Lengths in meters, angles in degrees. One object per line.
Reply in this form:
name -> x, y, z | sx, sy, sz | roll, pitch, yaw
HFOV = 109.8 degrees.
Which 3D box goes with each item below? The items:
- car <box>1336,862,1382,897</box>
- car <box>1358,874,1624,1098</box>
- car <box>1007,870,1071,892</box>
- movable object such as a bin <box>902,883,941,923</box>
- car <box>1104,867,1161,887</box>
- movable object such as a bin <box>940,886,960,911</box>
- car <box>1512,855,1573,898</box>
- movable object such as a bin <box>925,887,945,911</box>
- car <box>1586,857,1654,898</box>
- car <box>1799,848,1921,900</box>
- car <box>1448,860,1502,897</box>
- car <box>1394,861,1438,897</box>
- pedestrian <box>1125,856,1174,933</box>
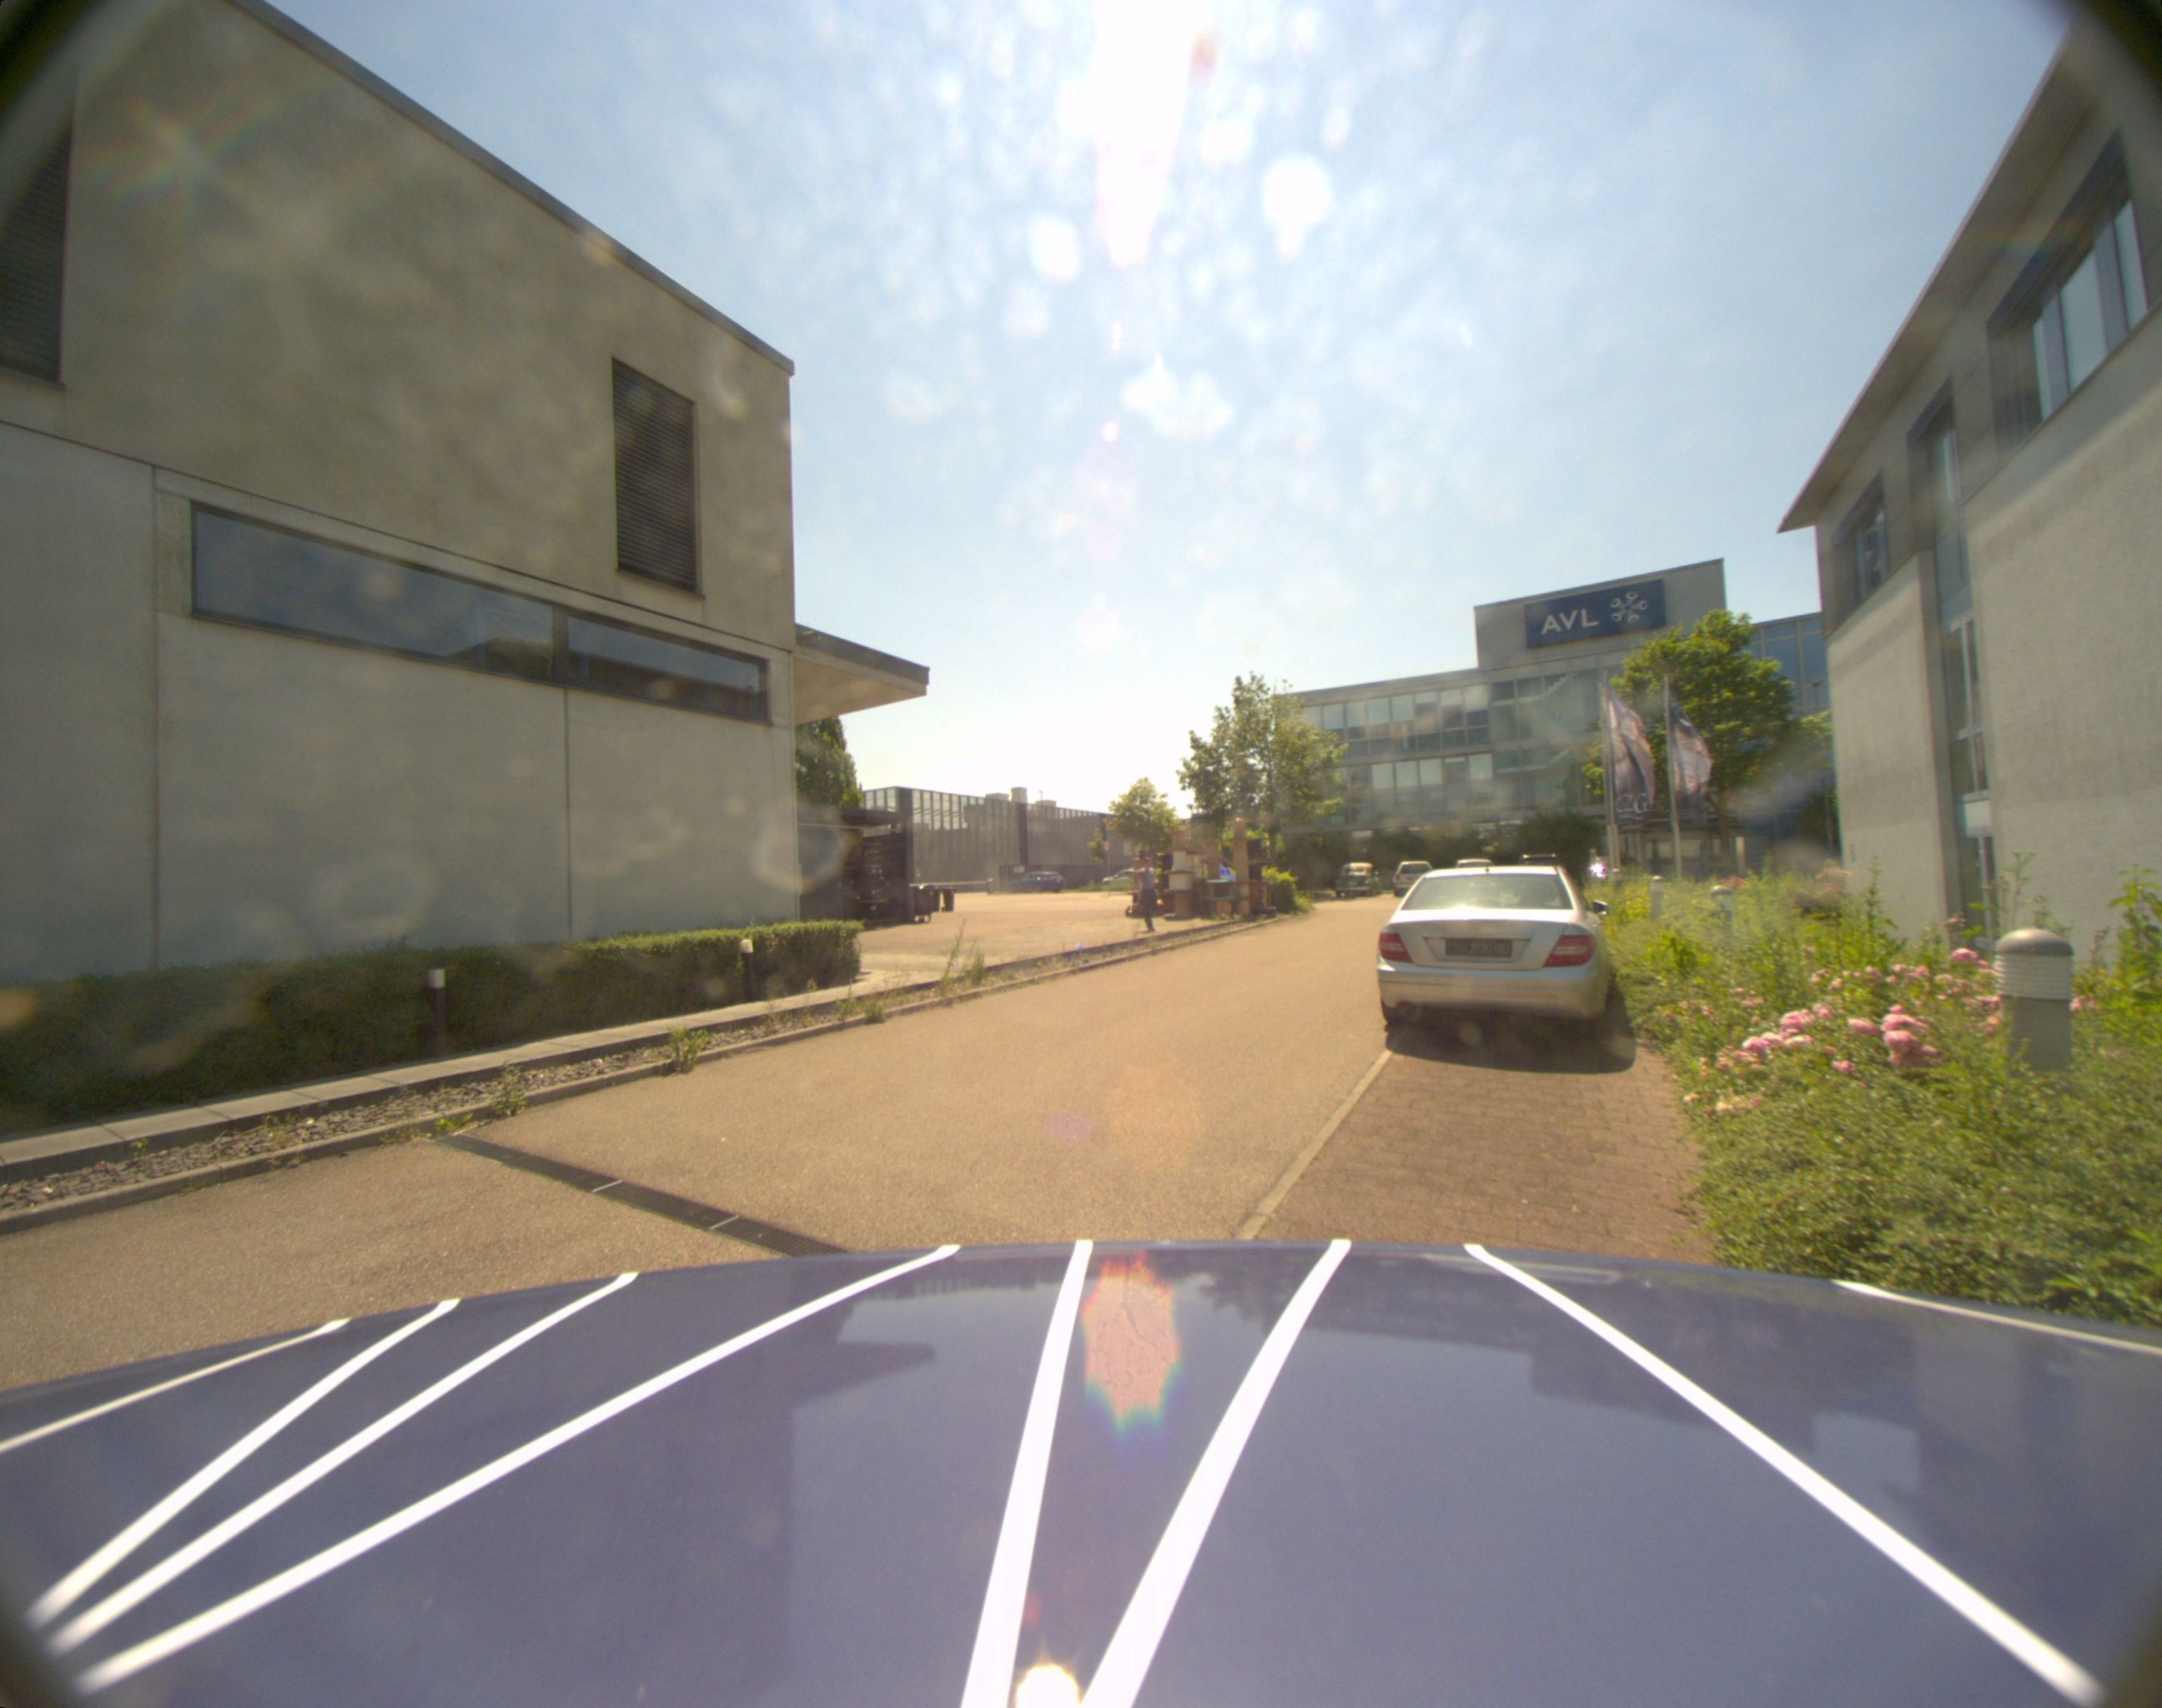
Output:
car -> 12.378, 1.083, 33.771 | 1.519, 1.437, 3.425 | -1, 0, 27
car -> 4.131, 0.972, 7.424 | 1.730, 1.448, 4.156 | -2, -1, 33
car -> -2.936, 1.902, 52.380 | 4.434, 1.401, 1.863 | -3, -2, 43
movable object such as a bin -> -5.202, 1.586, 24.781 | 0.874, 1.242, 0.803 | -2, 0, 39
car -> 4.010, 1.782, 59.456 | 1.784, 1.467, 4.403 | -1, -1, -44
movable object such as a bin -> -5.080, 1.723, 29.501 | 0.585, 0.912, 0.548 | -2, 0, 6
car -> 18.626, 0.883, 30.822 | 1.935, 1.593, 3.867 | -1, 0, 29
movable object such as a bin -> -5.684, 1.753, 29.562 | 0.585, 0.912, 0.548 | -2, 0, 6
car -> 20.820, 0.869, 29.500 | 1.727, 1.475, 4.406 | -2, -1, 30
car -> 26.717, 0.669, 26.236 | 1.829, 1.627, 4.180 | -2, -1, 30
car -> 16.651, 1.019, 32.246 | 1.728, 1.443, 3.606 | -1, 0, 23
car -> 14.449, 1.035, 32.790 | 1.639, 1.443, 3.606 | -1, 0, 23
pedestrian -> 1.640, 0.951, 18.204 | 0.810, 1.758, 0.767 | -2, 0, -30
